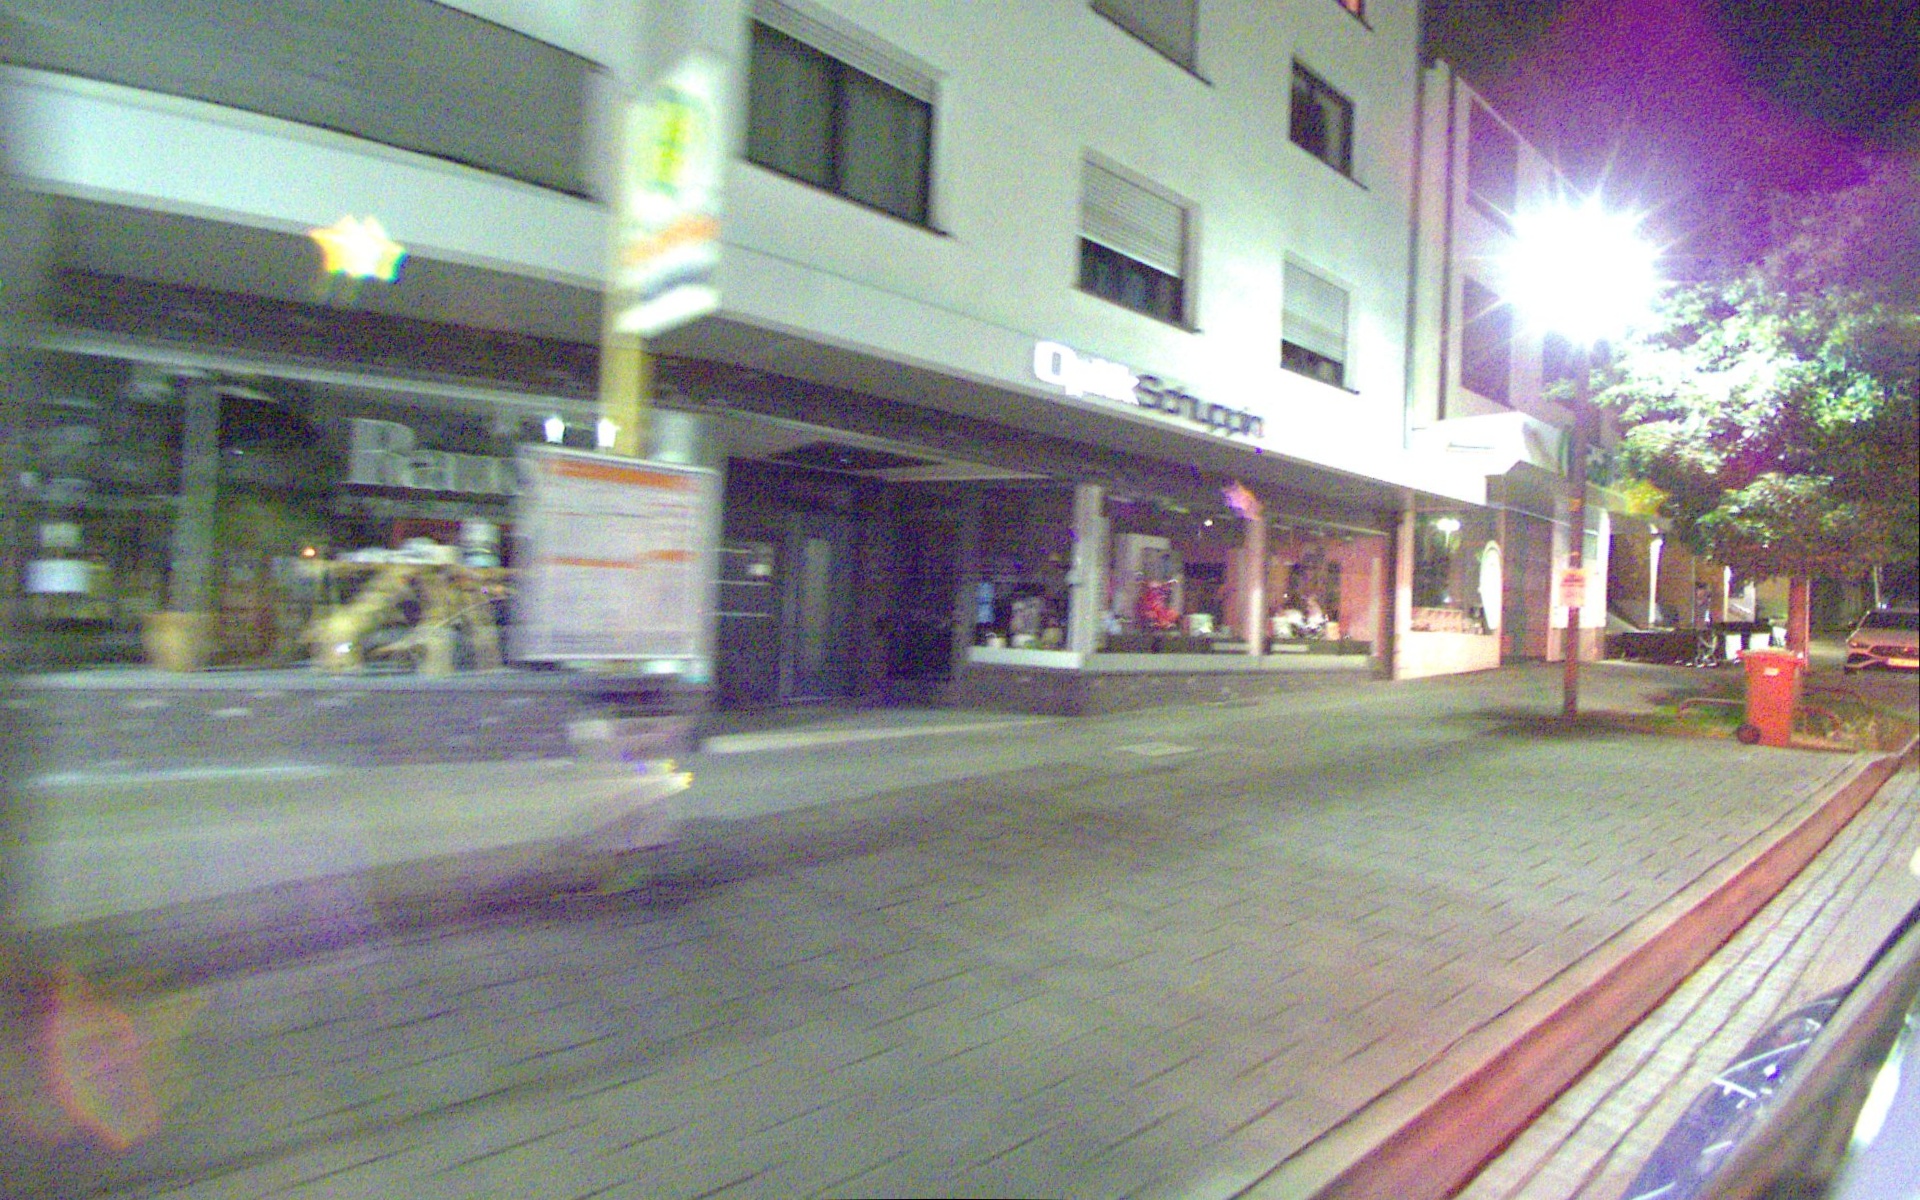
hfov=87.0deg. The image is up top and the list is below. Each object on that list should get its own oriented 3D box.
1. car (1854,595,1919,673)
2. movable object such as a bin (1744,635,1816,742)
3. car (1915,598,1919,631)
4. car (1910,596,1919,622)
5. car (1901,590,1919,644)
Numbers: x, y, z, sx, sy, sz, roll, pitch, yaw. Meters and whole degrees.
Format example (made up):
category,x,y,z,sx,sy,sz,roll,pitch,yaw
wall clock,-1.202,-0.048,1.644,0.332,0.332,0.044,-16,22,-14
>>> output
category,x,y,z,sx,sy,sz,roll,pitch,yaw
car,20.381,0.672,21.416,4.519,1.459,1.859,-1,3,-45
movable object such as a bin,7.926,0.838,9.796,0.523,0.949,0.621,0,1,38
car,45.698,0.637,47.054,4.535,1.465,1.678,0,0,-44
car,56.545,0.504,59.030,1.638,1.485,3.717,-1,0,43
car,31.833,0.554,32.792,1.788,1.661,4.309,4,3,45
